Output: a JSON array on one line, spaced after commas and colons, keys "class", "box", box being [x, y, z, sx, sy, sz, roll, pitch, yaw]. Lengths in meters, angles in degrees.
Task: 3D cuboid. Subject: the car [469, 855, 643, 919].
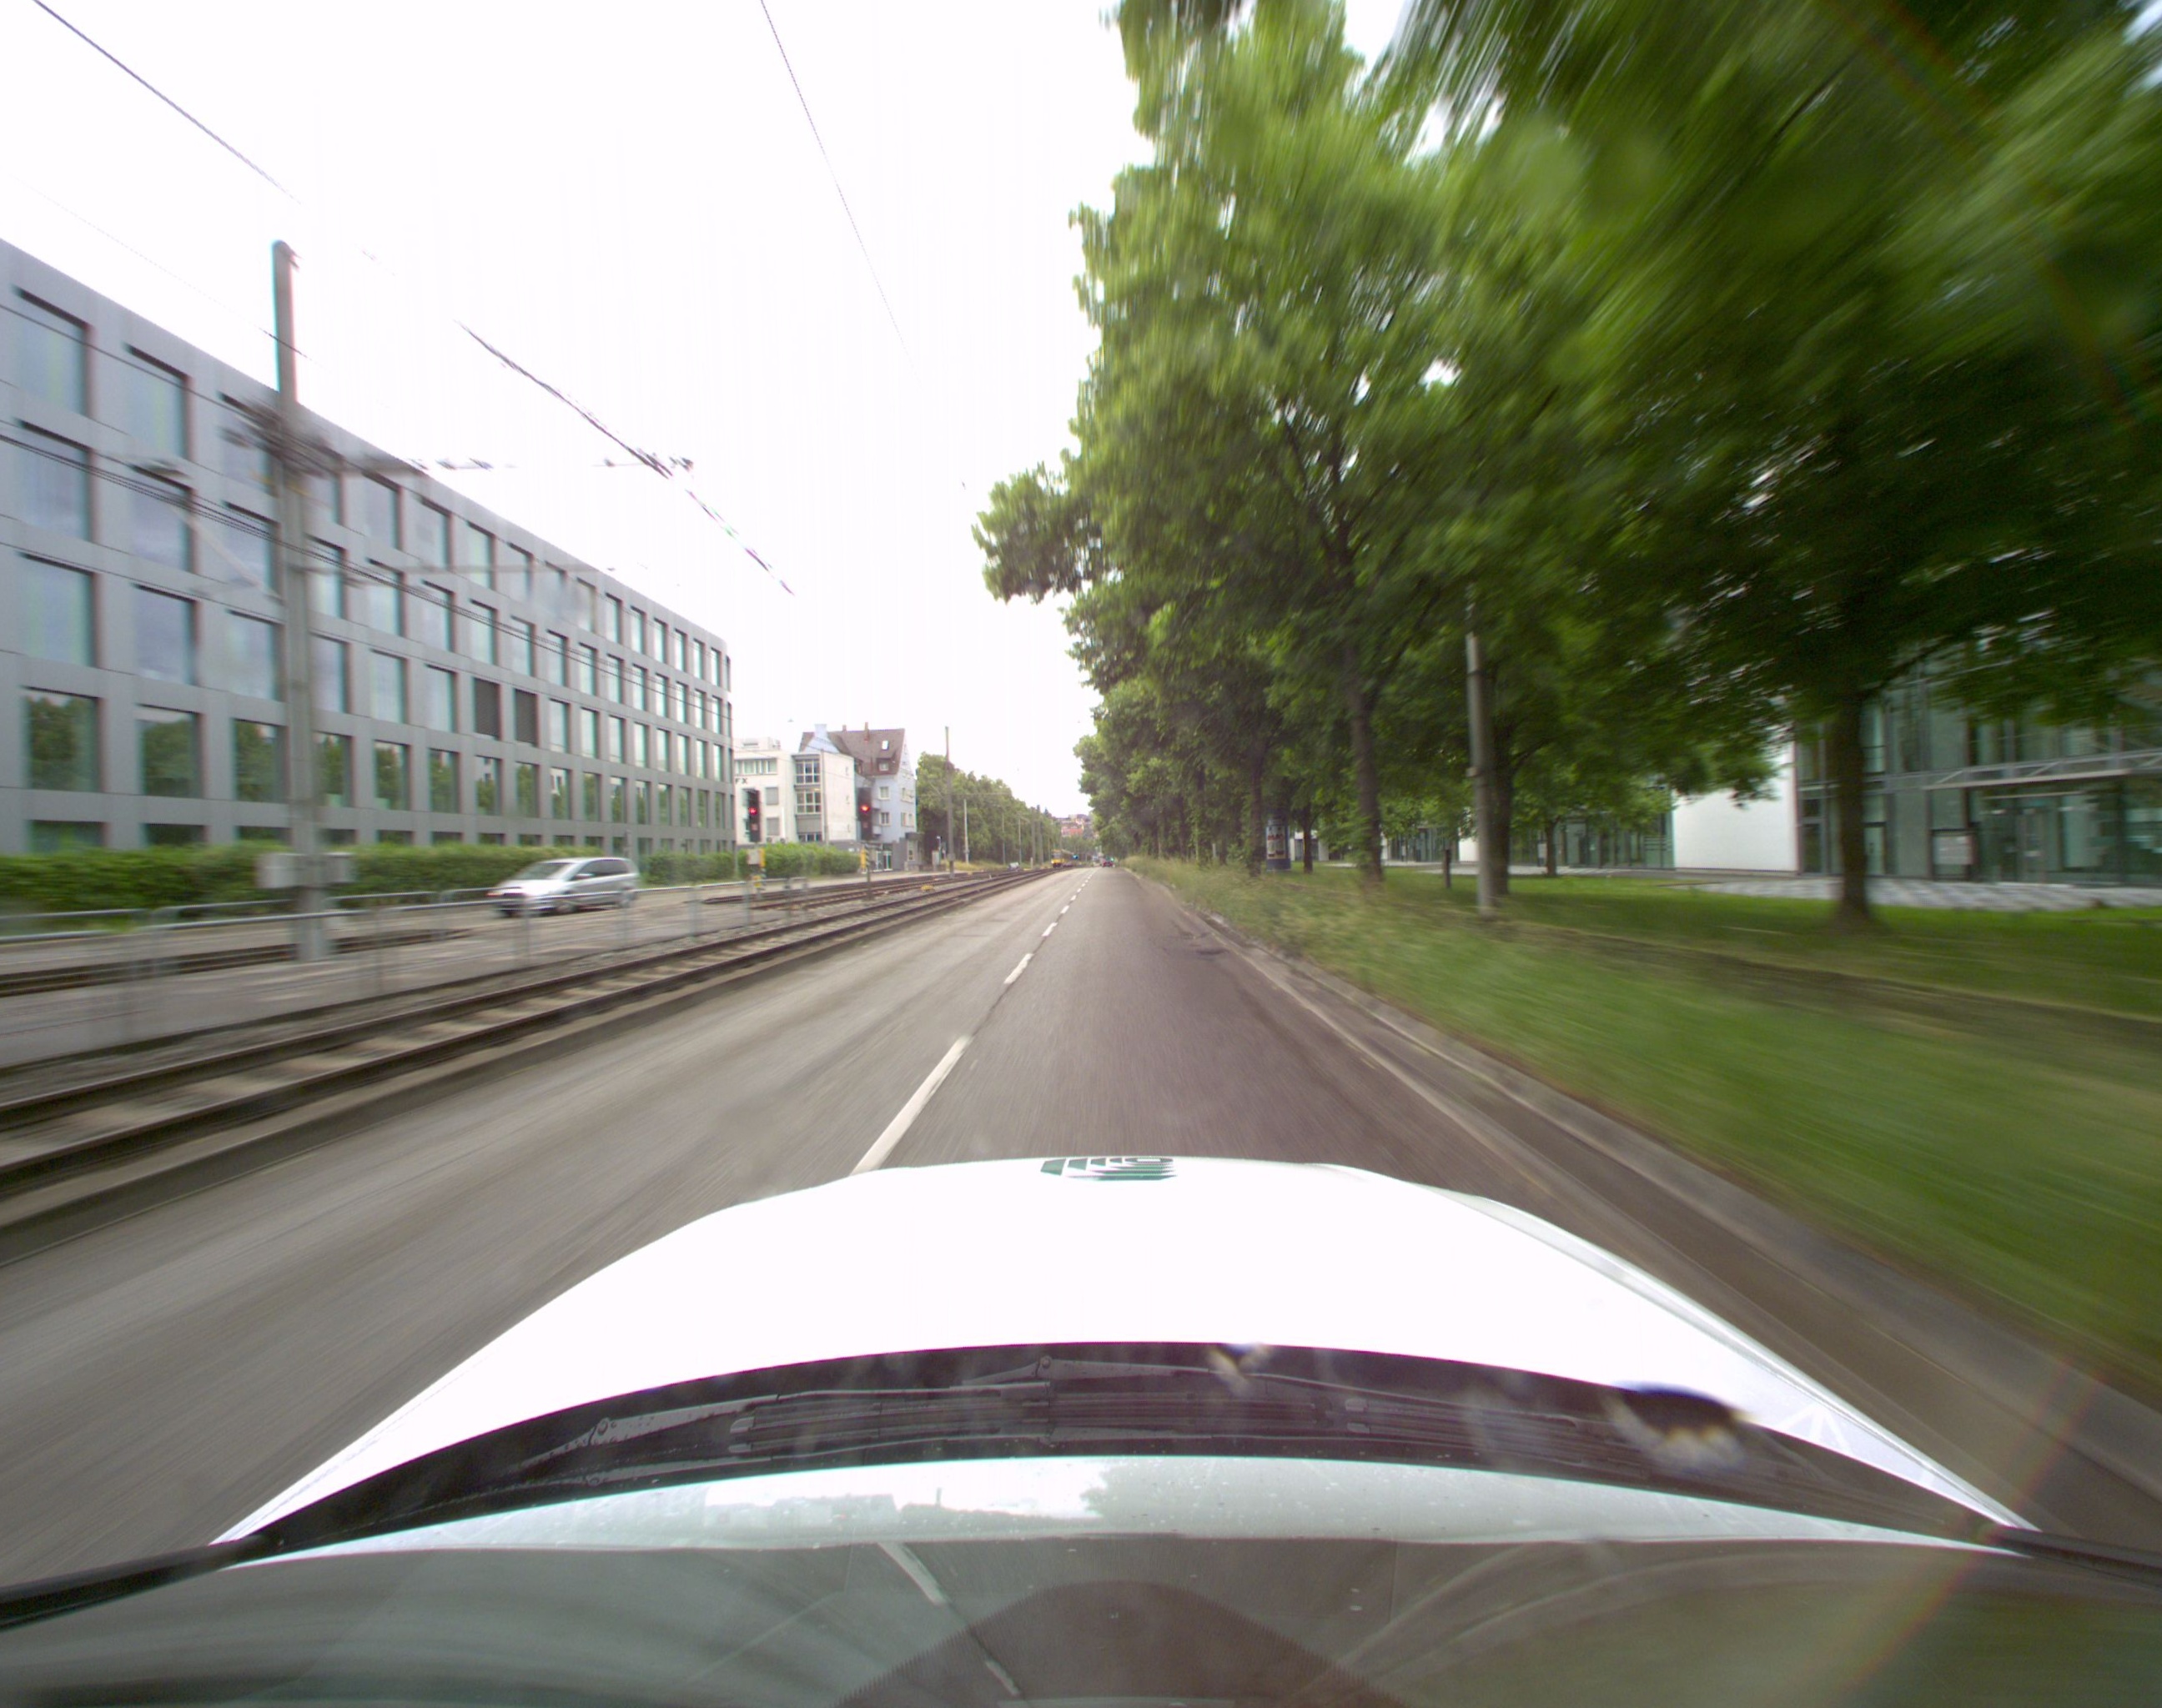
[{"class": "car", "box": [-15.705, 0.908, 24.763, 1.894, 1.644, 4.888, -2, 0, 3]}]

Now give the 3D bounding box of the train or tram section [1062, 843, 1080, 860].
[{"class": "train or tram section", "box": [-2.314, -0.477, 194.408, 3.201, 3.796, 14.801, -2, -1, 3]}]

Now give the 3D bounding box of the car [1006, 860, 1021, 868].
[{"class": "car", "box": [-11.730, 1.740, 142.353, 1.894, 1.325, 4.830, -2, -1, 3]}]

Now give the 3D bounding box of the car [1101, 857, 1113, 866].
[{"class": "car", "box": [4.417, 1.241, 139.232, 1.974, 1.440, 4.476, -2, 0, 2]}]

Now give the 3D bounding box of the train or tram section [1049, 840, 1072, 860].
[{"class": "train or tram section", "box": [-4.035, -0.770, 164.725, 3.201, 3.796, 14.801, -2, -1, 3]}]
